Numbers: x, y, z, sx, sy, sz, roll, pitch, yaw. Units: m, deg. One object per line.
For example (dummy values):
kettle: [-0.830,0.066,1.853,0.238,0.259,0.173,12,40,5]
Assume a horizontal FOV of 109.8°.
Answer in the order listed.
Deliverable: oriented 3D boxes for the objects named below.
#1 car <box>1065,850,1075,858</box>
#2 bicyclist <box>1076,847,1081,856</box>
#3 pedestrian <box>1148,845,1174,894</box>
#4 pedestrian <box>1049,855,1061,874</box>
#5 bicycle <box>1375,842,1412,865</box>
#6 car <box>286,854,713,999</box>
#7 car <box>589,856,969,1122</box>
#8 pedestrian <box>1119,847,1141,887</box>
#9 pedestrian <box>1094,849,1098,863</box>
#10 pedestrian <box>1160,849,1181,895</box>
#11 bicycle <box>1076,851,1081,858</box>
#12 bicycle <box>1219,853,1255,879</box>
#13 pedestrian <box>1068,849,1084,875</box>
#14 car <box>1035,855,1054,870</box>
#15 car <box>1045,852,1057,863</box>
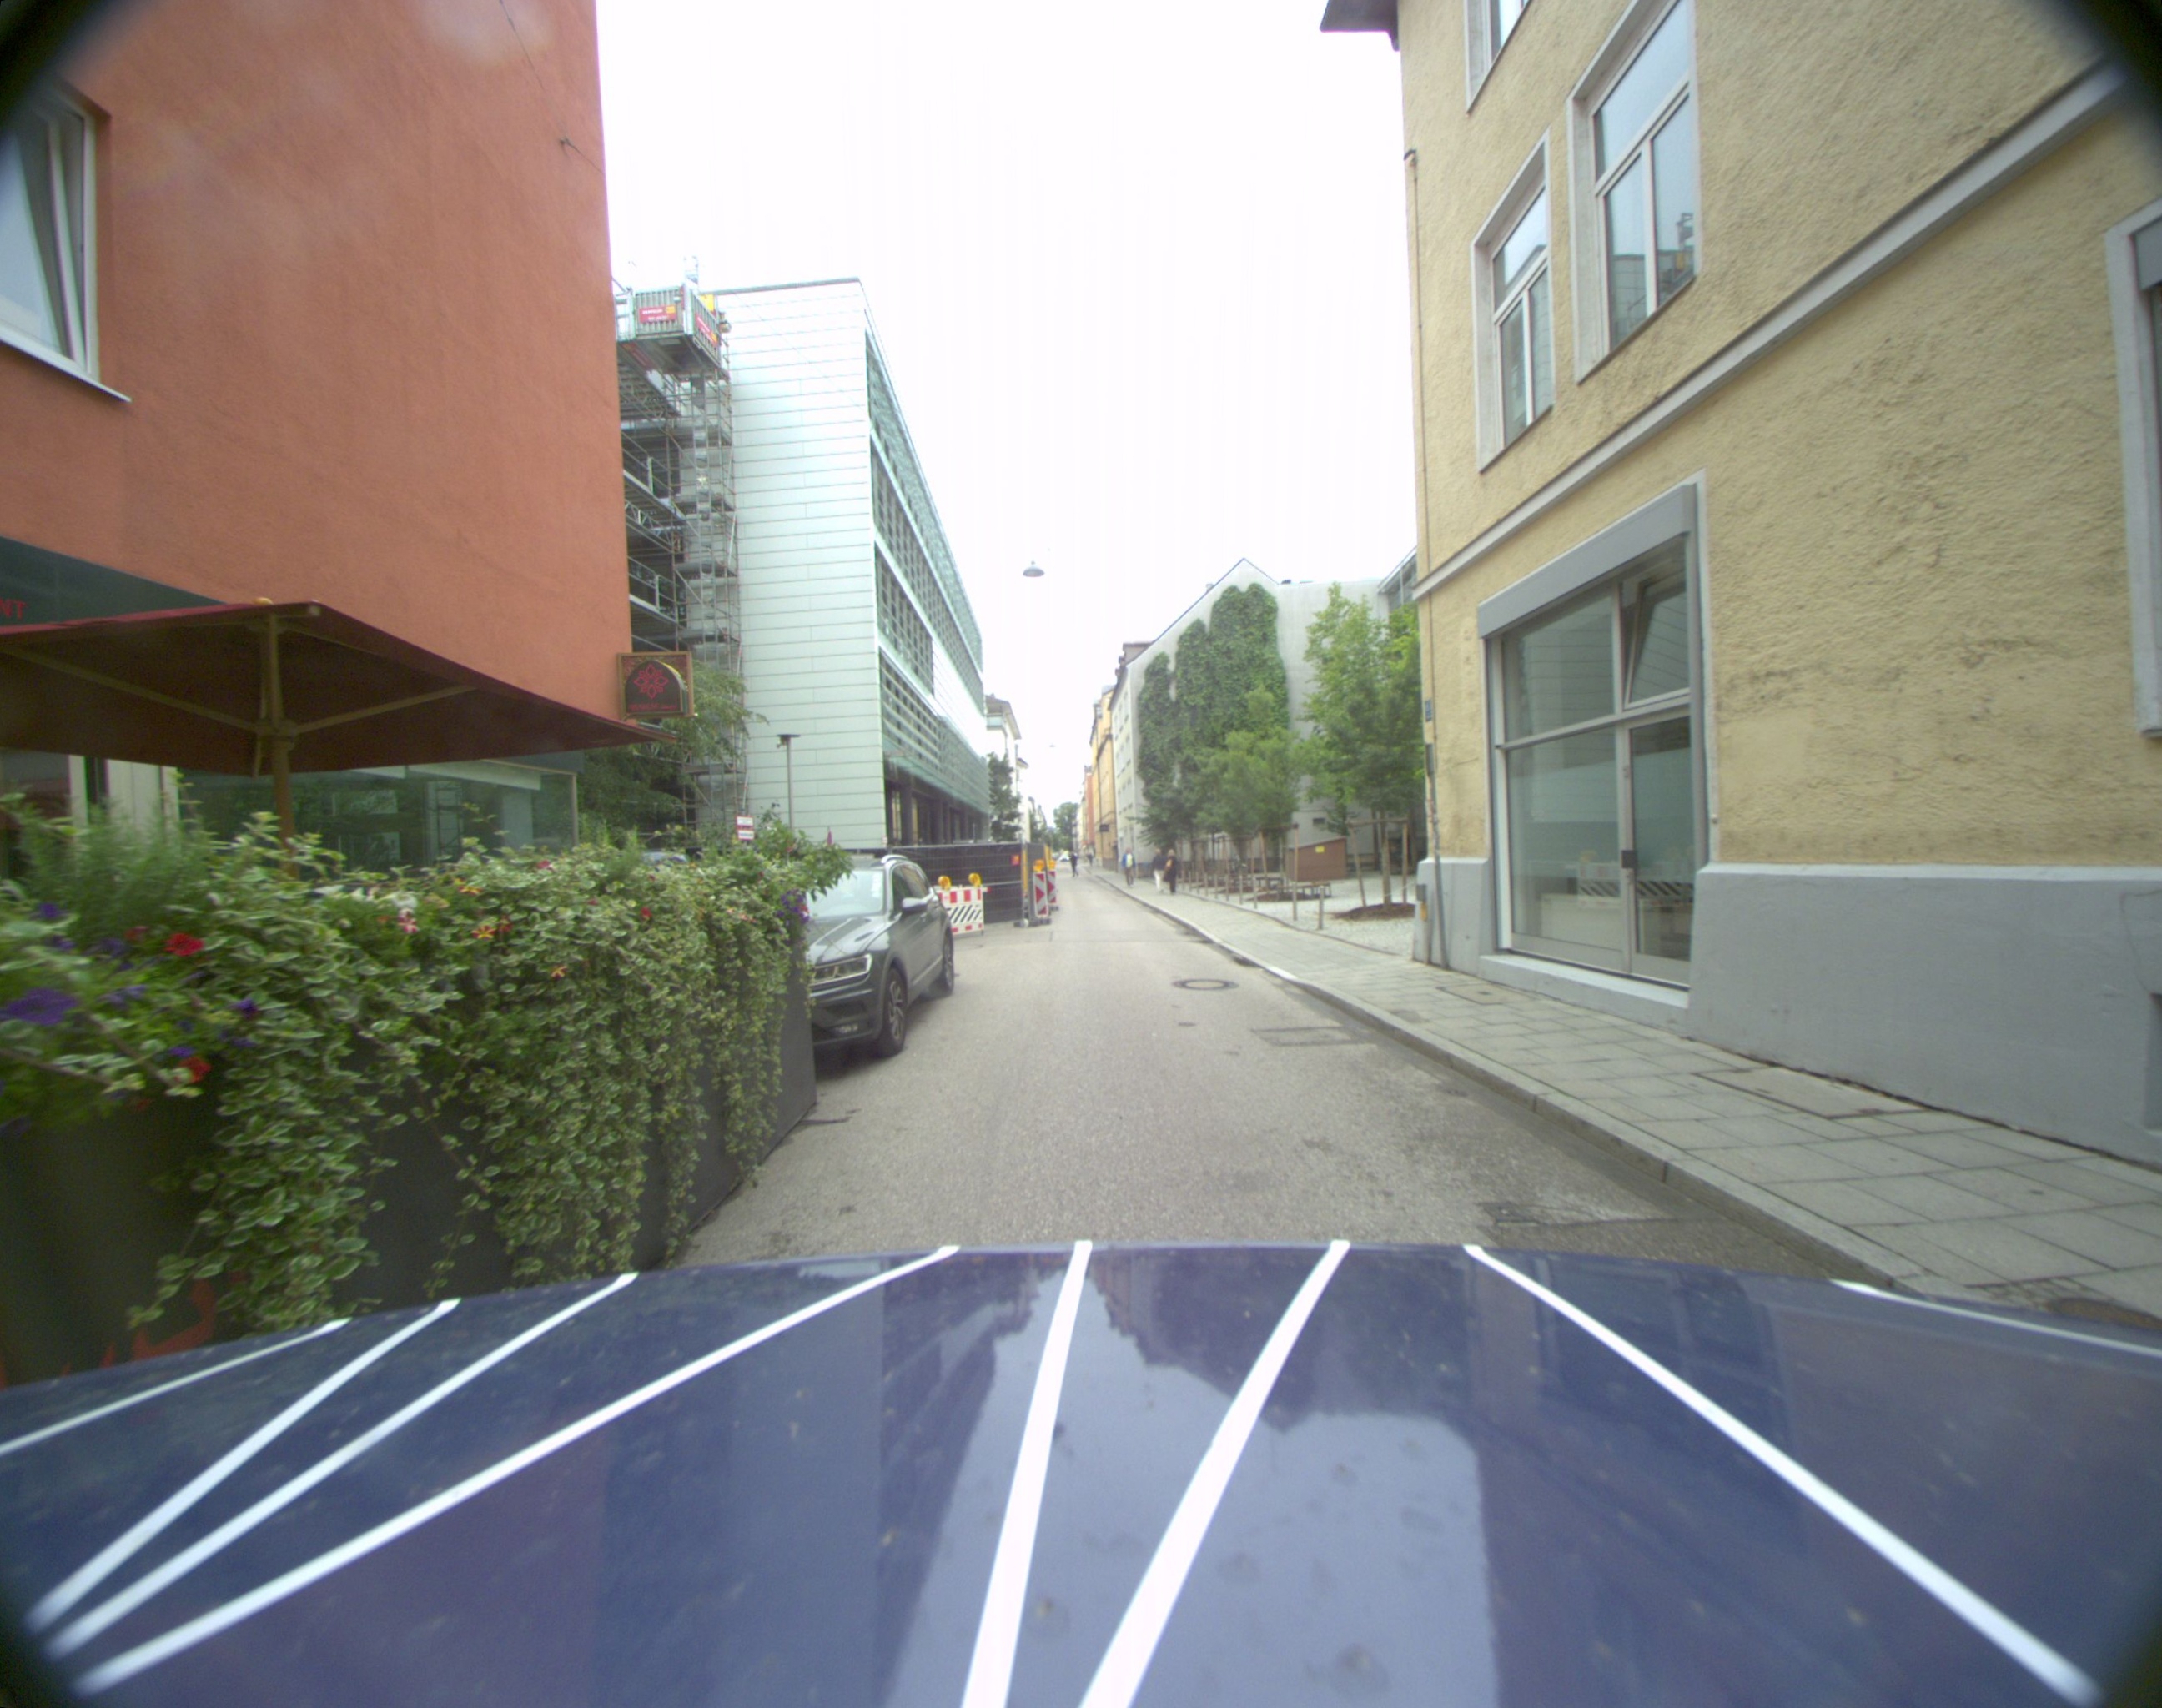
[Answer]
car: [-2.234,-0.058,153.768,1.999,1.583,4.374,-2,0,-2]
bicyclist: [-0.379,-0.408,121.479,0.718,1.399,0.965,-2,1,-2]
pedestrian: [3.066,0.577,29.249,0.778,1.826,0.991,-2,1,-2]
pedestrian: [-2.186,0.905,64.424,0.712,1.542,0.775,-4,1,-23]
bicycle: [16.660,-0.024,40.525,1.724,1.135,0.603,-2,1,4]
car: [-7.895,0.928,10.681,4.473,1.710,1.840,-2,0,-2]
car: [-2.390,0.929,7.390,1.828,1.700,4.388,-3,0,0]
pedestrian: [2.298,0.593,35.838,0.861,1.834,0.974,-3,1,0]
pedestrian: [1.927,0.260,97.324,0.493,1.814,0.552,-2,1,-2]
pedestrian: [3.329,0.668,28.241,0.554,1.650,0.997,-2,1,-2]
bicycle: [-0.367,0.076,121.636,0.700,0.926,1.693,-2,0,-2]
bicycle: [7.513,0.576,36.695,0.714,1.201,1.995,-4,1,-19]
pedestrian: [-0.397,0.615,58.017,0.746,1.891,0.877,-4,1,-33]
car: [-3.728,0.853,78.634,1.809,1.390,3.999,-2,0,-2]
car: [-4.681,0.576,118.156,1.794,1.550,3.999,-2,0,-2]
